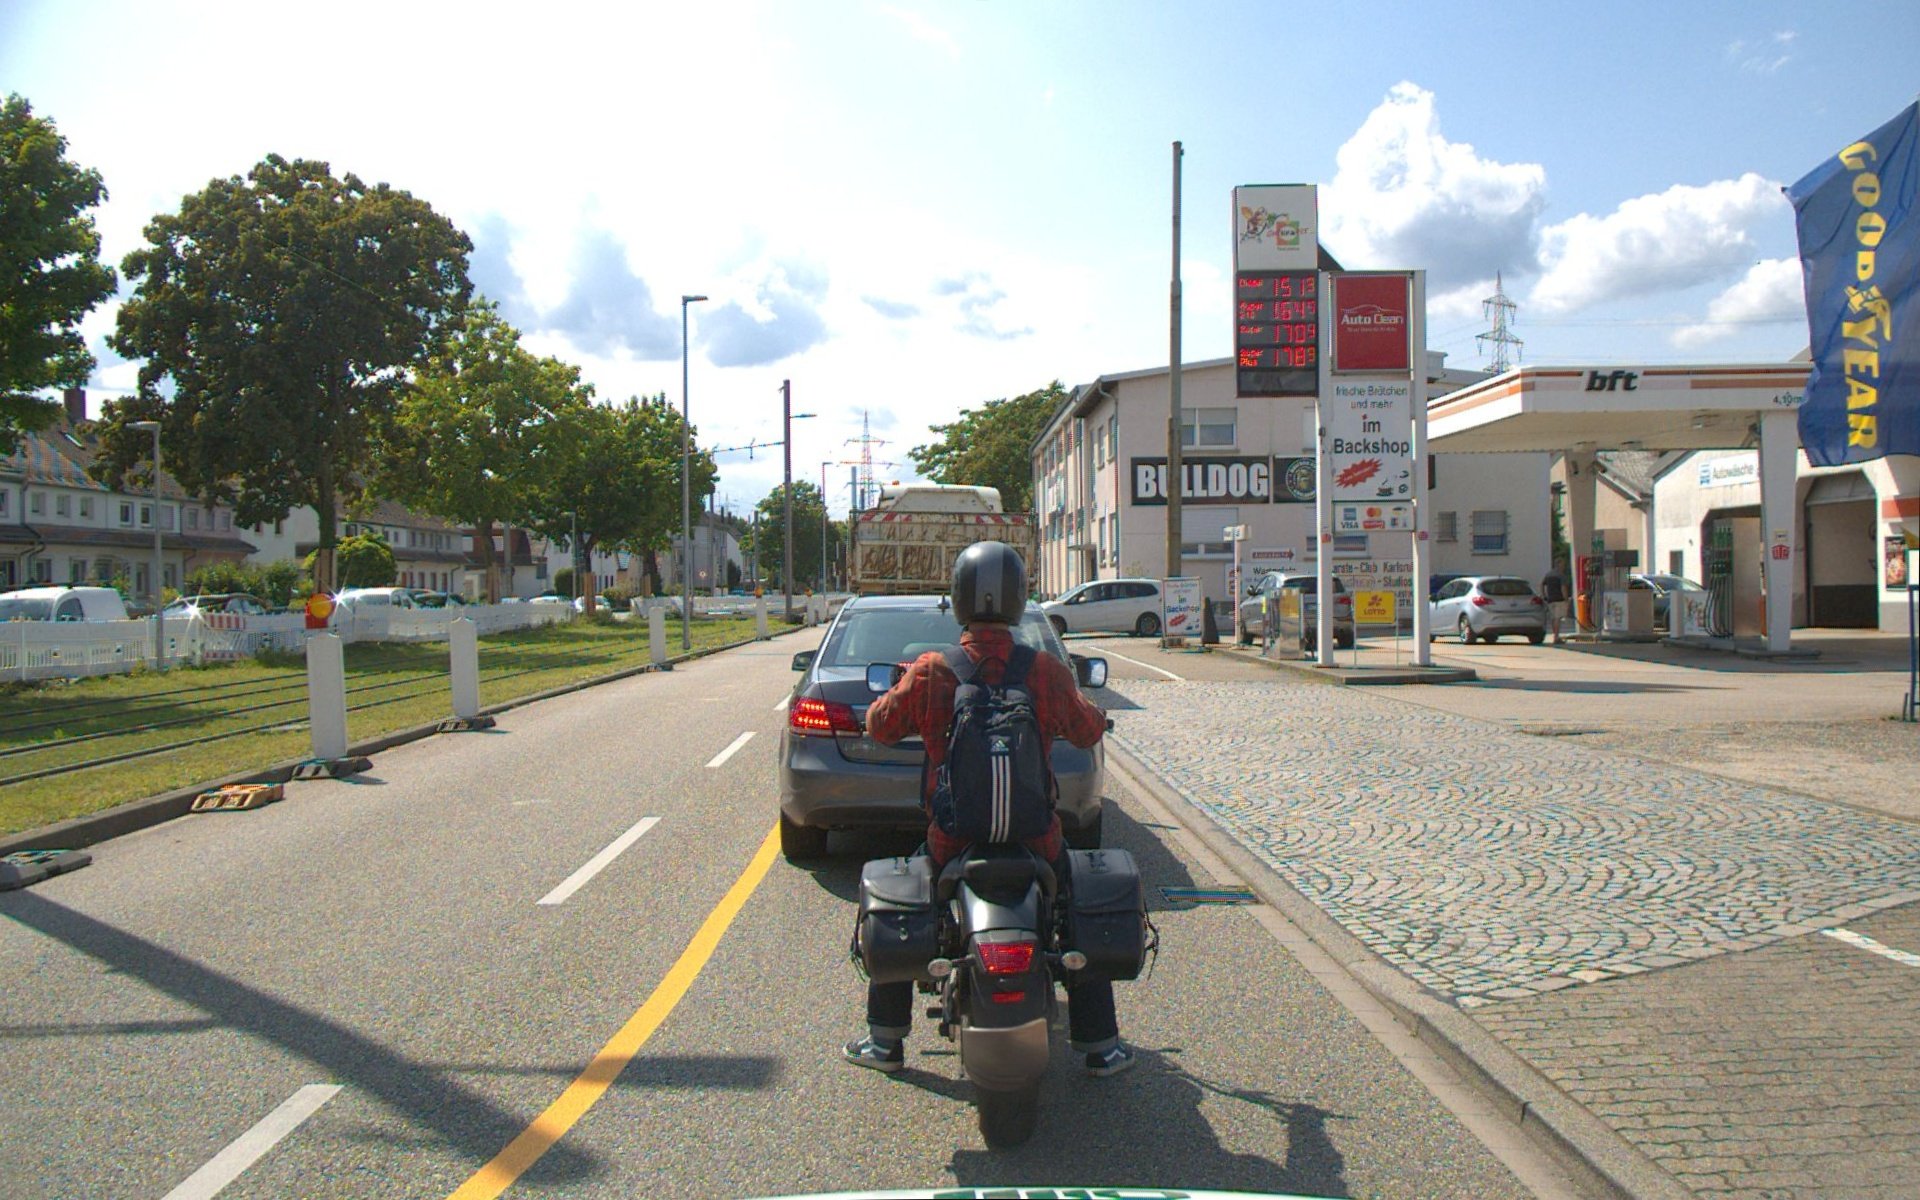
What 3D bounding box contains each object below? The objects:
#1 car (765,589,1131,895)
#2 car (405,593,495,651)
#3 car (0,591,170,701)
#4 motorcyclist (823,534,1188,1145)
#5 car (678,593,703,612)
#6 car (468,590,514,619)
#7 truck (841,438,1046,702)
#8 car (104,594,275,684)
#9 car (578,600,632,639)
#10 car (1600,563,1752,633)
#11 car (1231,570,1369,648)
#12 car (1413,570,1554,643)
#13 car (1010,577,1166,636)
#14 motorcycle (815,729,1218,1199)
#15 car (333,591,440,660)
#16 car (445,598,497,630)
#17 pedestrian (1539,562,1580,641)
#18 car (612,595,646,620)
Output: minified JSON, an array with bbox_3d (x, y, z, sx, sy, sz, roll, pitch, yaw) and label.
[{"bbox_3d":[-0.084,0.690,10.178,1.786,1.478,3.999,1,0,-1],"label":"car"},{"bbox_3d":[-16.978,0.695,55.259,1.740,1.837,4.127,-1,0,-1],"label":"car"},{"bbox_3d":[-16.437,0.781,30.388,1.740,1.853,4.363,-1,0,-1],"label":"car"},{"bbox_3d":[0.116,0.641,5.017,0.959,1.630,1.087,-1,0,-1],"label":"motorcyclist"},{"bbox_3d":[-26.087,0.273,160.257,1.740,1.753,4.250,-1,0,-1],"label":"car"},{"bbox_3d":[-29.433,0.268,103.950,1.740,1.753,4.127,-1,0,-1],"label":"car"},{"bbox_3d":[-0.269,-0.425,25.364,2.585,3.354,8.055,-1,0,-1],"label":"truck"},{"bbox_3d":[-16.680,0.789,36.024,1.740,1.805,4.227,-1,0,-1],"label":"car"},{"bbox_3d":[-17.062,0.904,79.684,1.740,1.753,4.127,-1,0,-1],"label":"car"},{"bbox_3d":[16.763,-0.060,38.937,1.770,1.529,3.832,-1,0,-3],"label":"car"},{"bbox_3d":[7.452,0.173,36.630,1.636,1.589,4.236,-1,0,-8],"label":"car"},{"bbox_3d":[11.716,0.116,37.265,1.770,1.529,3.831,-1,0,-3],"label":"car"},{"bbox_3d":[3.631,0.179,47.088,4.152,1.570,1.669,-1,0,-9],"label":"car"},{"bbox_3d":[0.118,0.995,5.323,0.959,0.913,2.653,-1,0,-1],"label":"motorcycle"},{"bbox_3d":[-16.946,0.712,49.081,1.740,1.900,4.127,-1,0,-1],"label":"car"},{"bbox_3d":[-28.307,0.772,95.833,1.740,1.753,4.127,-1,0,-1],"label":"car"},{"bbox_3d":[12.948,0.028,35.712,0.696,1.685,0.546,-1,0,35],"label":"pedestrian"},{"bbox_3d":[-24.973,0.539,124.850,1.740,1.753,4.127,-1,0,-1],"label":"car"}]
